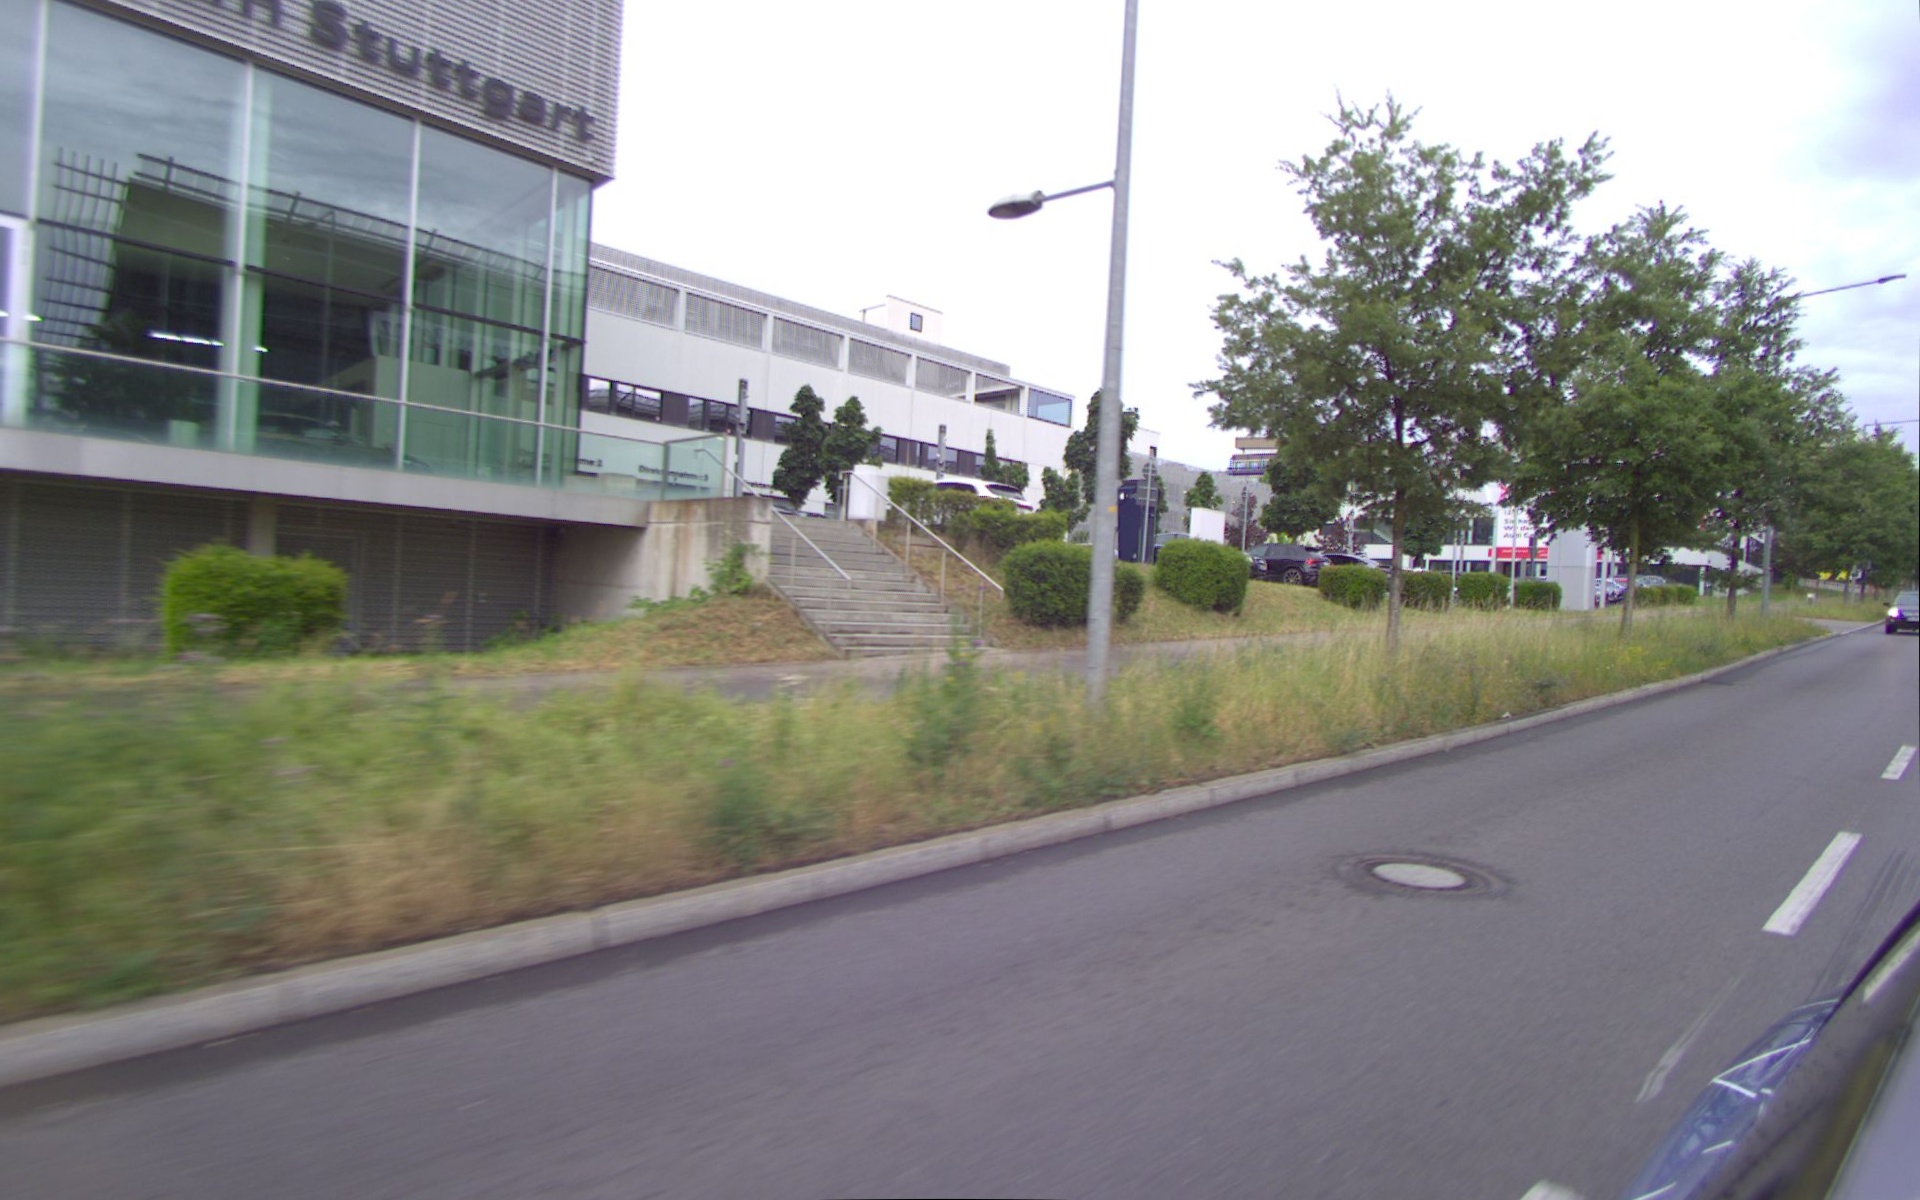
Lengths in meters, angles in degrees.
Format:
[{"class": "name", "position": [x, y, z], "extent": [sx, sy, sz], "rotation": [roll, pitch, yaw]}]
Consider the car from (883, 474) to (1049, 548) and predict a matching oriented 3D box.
[{"class": "car", "position": [0.072, -2.168, 25.468], "extent": [1.665, 1.594, 4.262], "rotation": [0, 1, -44]}]

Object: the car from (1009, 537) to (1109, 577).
[{"class": "car", "position": [4.184, -1.841, 43.208], "extent": [1.665, 1.593, 4.109], "rotation": [1, 1, -44]}]

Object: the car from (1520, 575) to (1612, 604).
[{"class": "car", "position": [36.501, -0.651, 61.025], "extent": [4.459, 1.570, 1.902], "rotation": [3, 3, 42]}]

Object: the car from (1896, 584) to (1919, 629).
[{"class": "car", "position": [37.315, 0.230, 38.614], "extent": [4.040, 1.629, 1.828], "rotation": [-1, 1, -39]}]

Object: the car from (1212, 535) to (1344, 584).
[{"class": "car", "position": [11.041, -1.374, 35.356], "extent": [1.665, 1.594, 4.108], "rotation": [0, 1, -44]}]

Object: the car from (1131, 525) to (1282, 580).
[{"class": "car", "position": [7.704, -1.455, 31.901], "extent": [1.665, 1.594, 4.424], "rotation": [0, 1, -44]}]

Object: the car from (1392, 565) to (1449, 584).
[{"class": "car", "position": [41.023, -2.300, 90.208], "extent": [4.278, 1.613, 1.798], "rotation": [3, 3, 45]}]

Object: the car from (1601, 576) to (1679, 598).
[{"class": "car", "position": [49.232, -0.968, 73.318], "extent": [1.900, 1.364, 4.402], "rotation": [-2, 5, -44]}]

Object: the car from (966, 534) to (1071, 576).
[{"class": "car", "position": [2.333, -1.789, 41.111], "extent": [1.796, 1.594, 4.108], "rotation": [0, 1, -44]}]

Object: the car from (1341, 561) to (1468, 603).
[{"class": "car", "position": [18.453, -0.789, 42.170], "extent": [1.665, 1.613, 4.523], "rotation": [-2, 3, -44]}]

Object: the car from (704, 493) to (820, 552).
[{"class": "car", "position": [-6.259, -2.373, 31.772], "extent": [1.664, 1.594, 4.110], "rotation": [0, 1, -43]}]

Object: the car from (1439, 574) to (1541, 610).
[{"class": "car", "position": [25.440, -0.419, 48.623], "extent": [4.098, 1.613, 1.922], "rotation": [2, 3, 39]}]

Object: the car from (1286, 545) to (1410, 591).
[{"class": "car", "position": [14.779, -1.212, 38.723], "extent": [1.665, 1.629, 4.108], "rotation": [1, 1, -44]}]

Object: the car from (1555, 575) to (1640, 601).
[{"class": "car", "position": [42.462, -0.842, 67.499], "extent": [1.900, 1.547, 4.466], "rotation": [-2, 4, -44]}]

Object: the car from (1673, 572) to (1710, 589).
[{"class": "car", "position": [61.141, -1.660, 84.618], "extent": [3.859, 1.354, 1.899], "rotation": [-2, 4, -45]}]

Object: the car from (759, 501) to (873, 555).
[{"class": "car", "position": [-4.898, -2.373, 34.038], "extent": [1.730, 1.594, 4.108], "rotation": [0, 1, -44]}]
